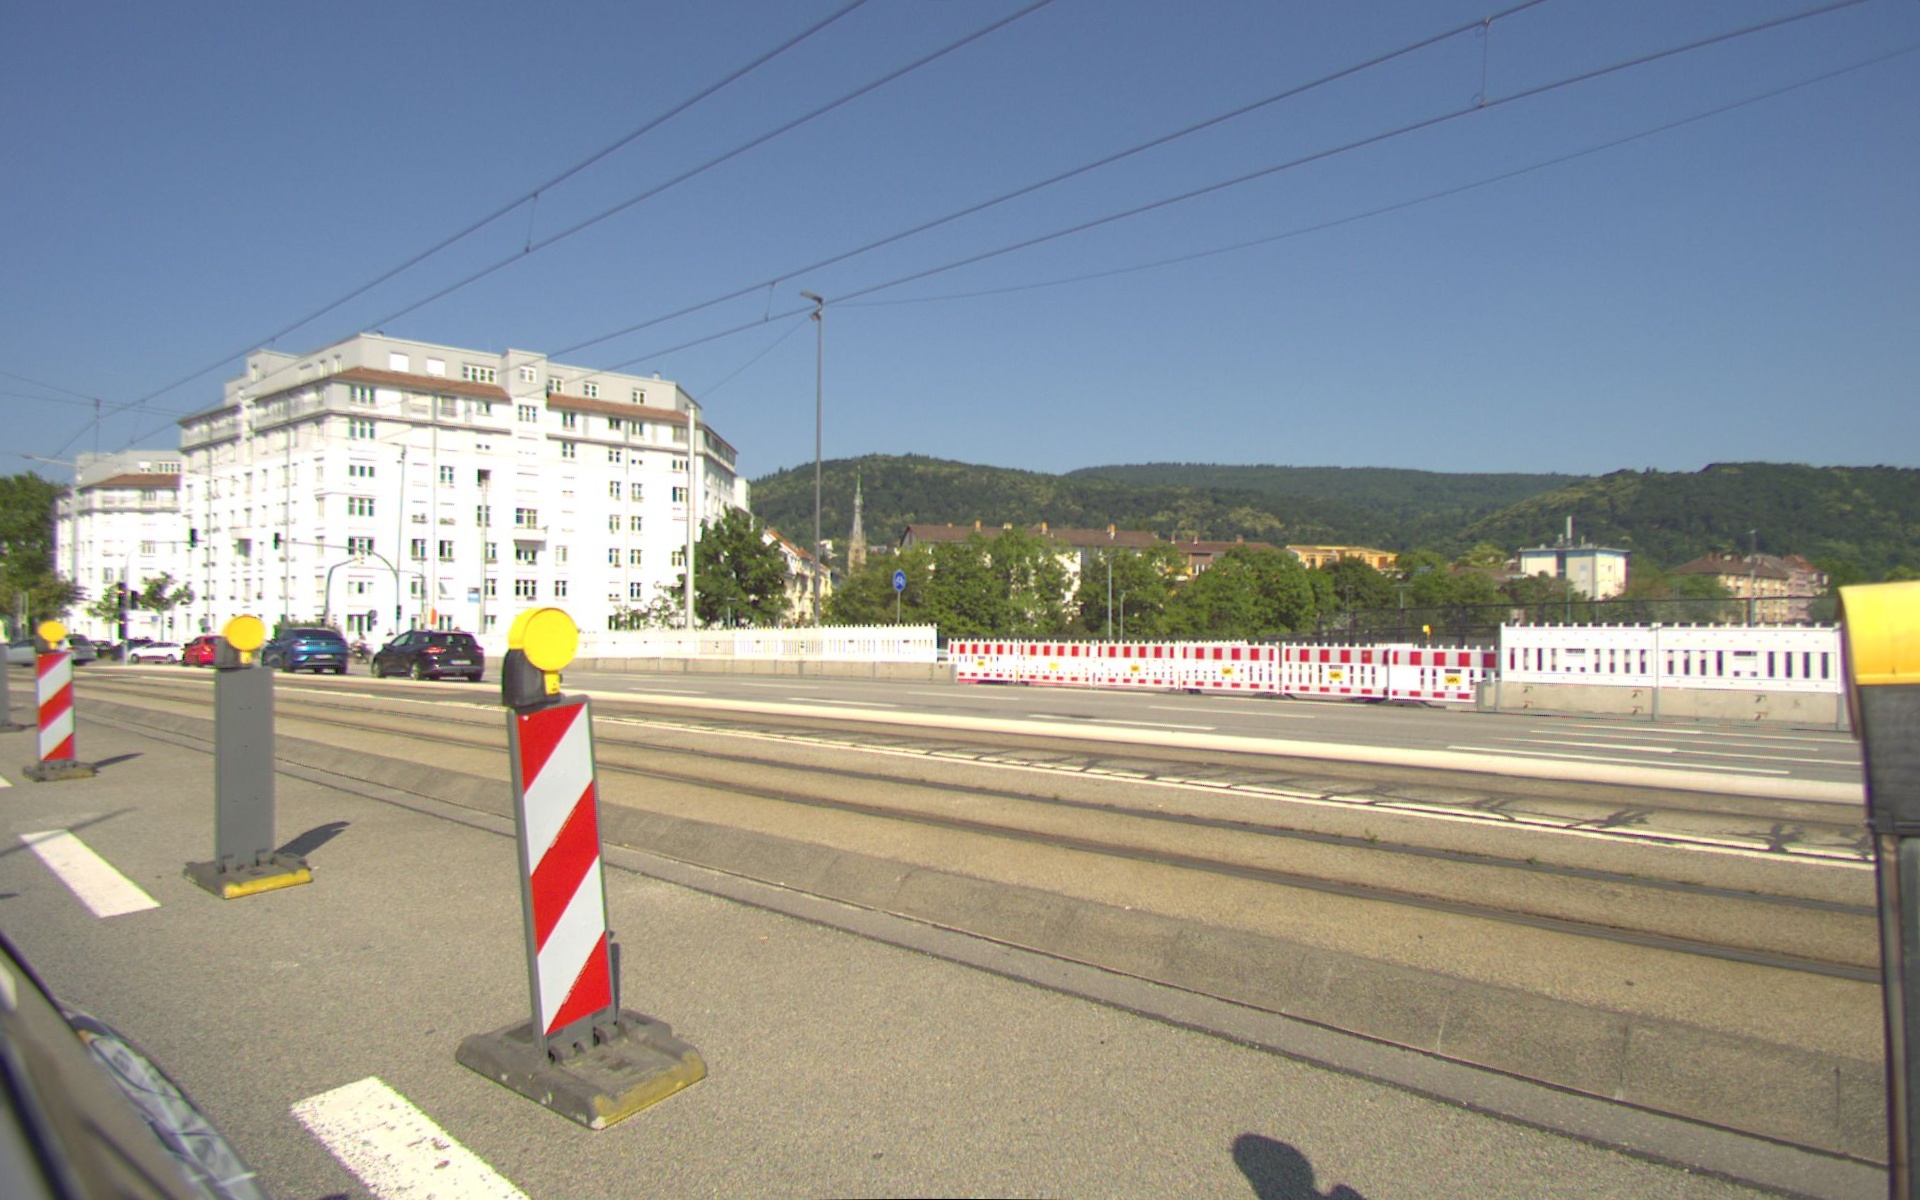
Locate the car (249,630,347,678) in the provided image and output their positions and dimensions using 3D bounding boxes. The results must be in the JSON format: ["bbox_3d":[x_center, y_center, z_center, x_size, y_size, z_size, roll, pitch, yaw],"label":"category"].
[{"bbox_3d":[-23.173,1.879,35.357,4.553,1.562,1.652,-2,-3,41],"label":"car"}]

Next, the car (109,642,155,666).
[{"bbox_3d":[-61.176,3.964,74.764,3.732,1.650,1.719,-2,-2,36],"label":"car"}]

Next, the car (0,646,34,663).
[{"bbox_3d":[-85.341,4.901,91.481,3.732,1.496,1.719,-2,-2,36],"label":"car"}]

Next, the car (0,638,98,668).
[{"bbox_3d":[-44.742,2.565,49.033,4.580,1.448,1.642,0,-3,2],"label":"car"}]

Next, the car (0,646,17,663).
[{"bbox_3d":[-90.994,5.160,95.863,3.732,1.496,1.719,-2,-2,36],"label":"car"}]

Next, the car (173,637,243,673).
[{"bbox_3d":[-33.271,2.421,44.753,3.977,1.448,1.518,-2,-7,41],"label":"car"}]

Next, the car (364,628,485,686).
[{"bbox_3d":[-14.838,1.561,27.966,4.174,1.512,1.490,-2,-4,40],"label":"car"}]

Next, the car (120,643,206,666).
[{"bbox_3d":[-50.191,3.436,63.765,4.436,1.423,1.697,0,-2,10],"label":"car"}]
